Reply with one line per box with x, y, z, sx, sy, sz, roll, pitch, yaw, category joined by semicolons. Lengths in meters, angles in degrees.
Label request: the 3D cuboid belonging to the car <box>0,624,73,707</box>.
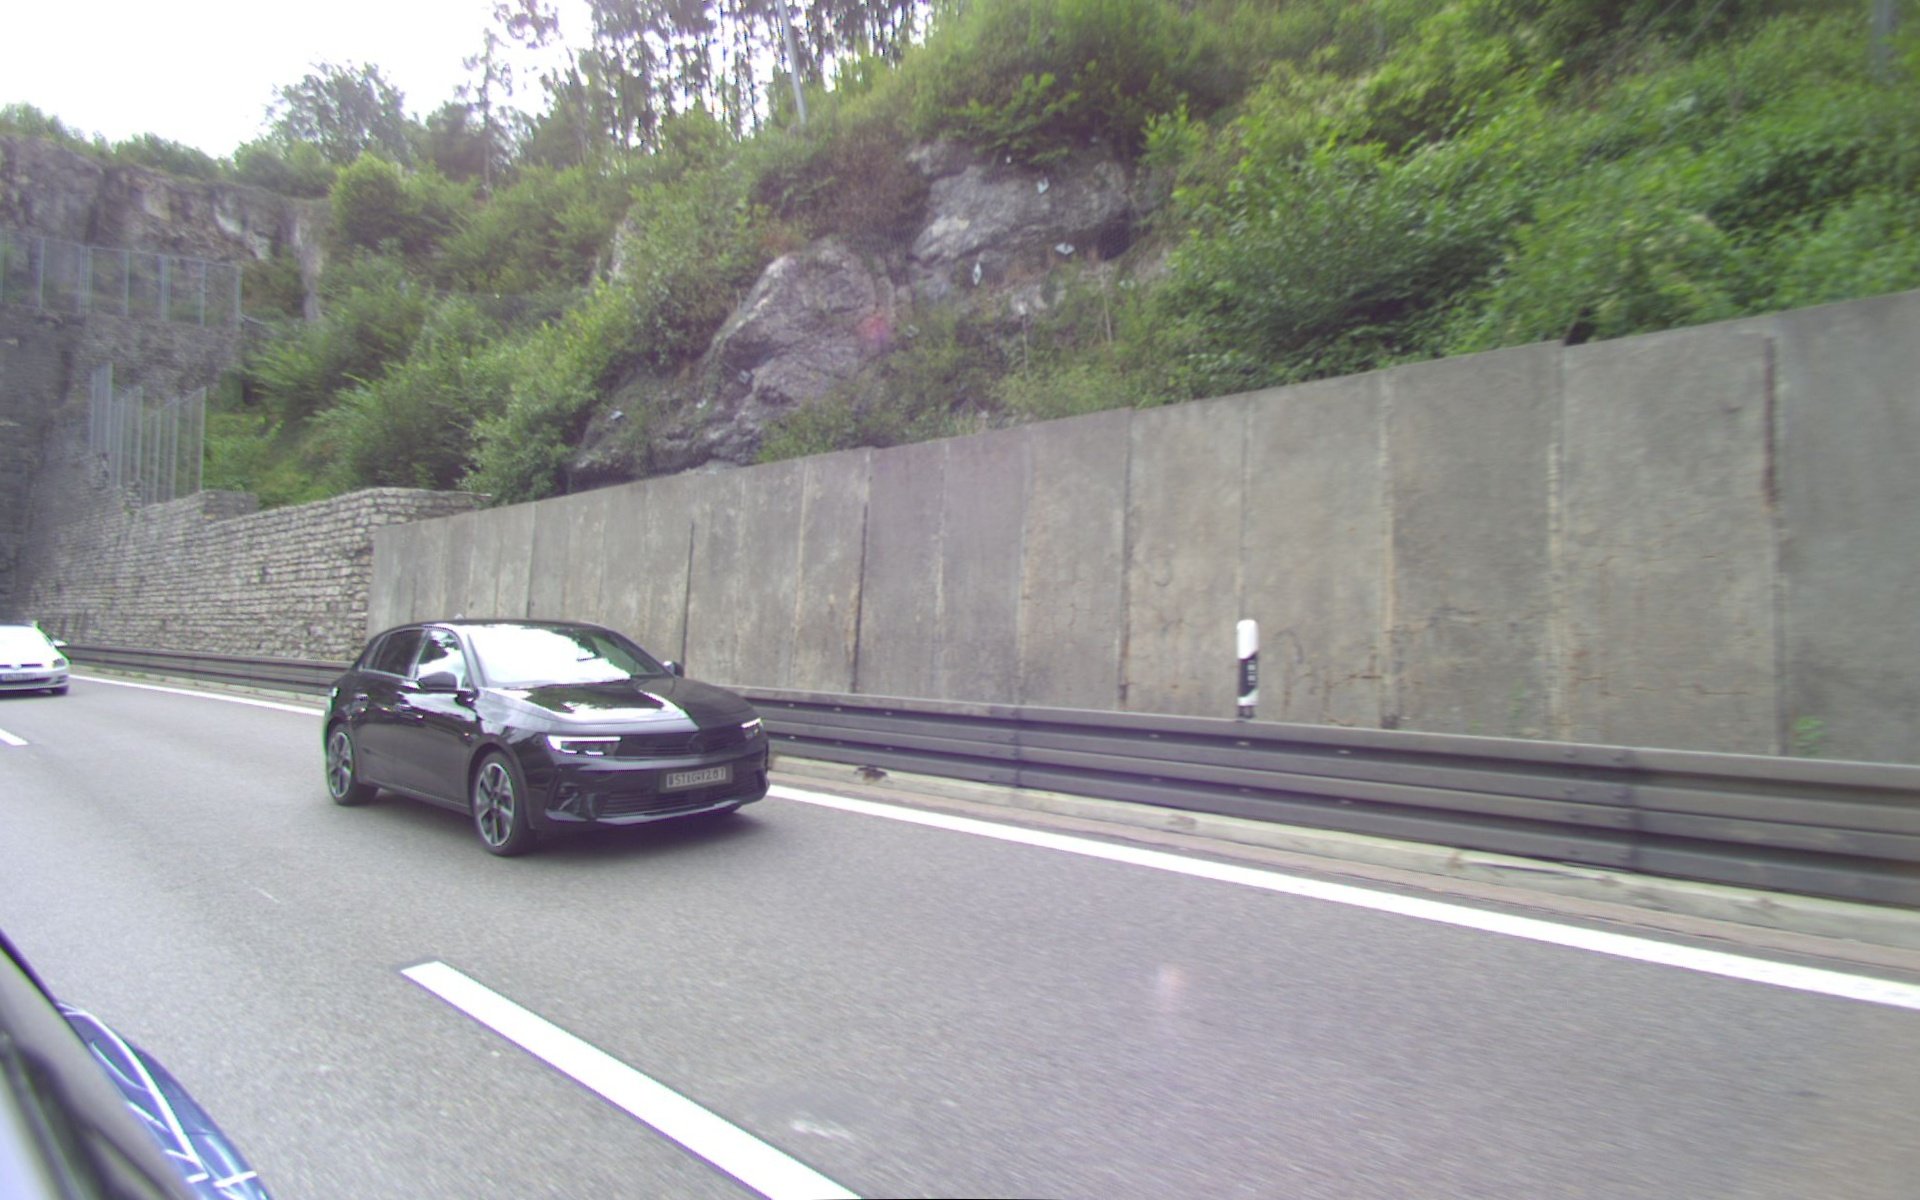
-19.334;1.236;20.089;4.622;1.493;1.827;-1;-1;39;car

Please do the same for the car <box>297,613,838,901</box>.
-3.109;0.873;7.449;4.578;1.472;1.755;-2;-1;41;car
